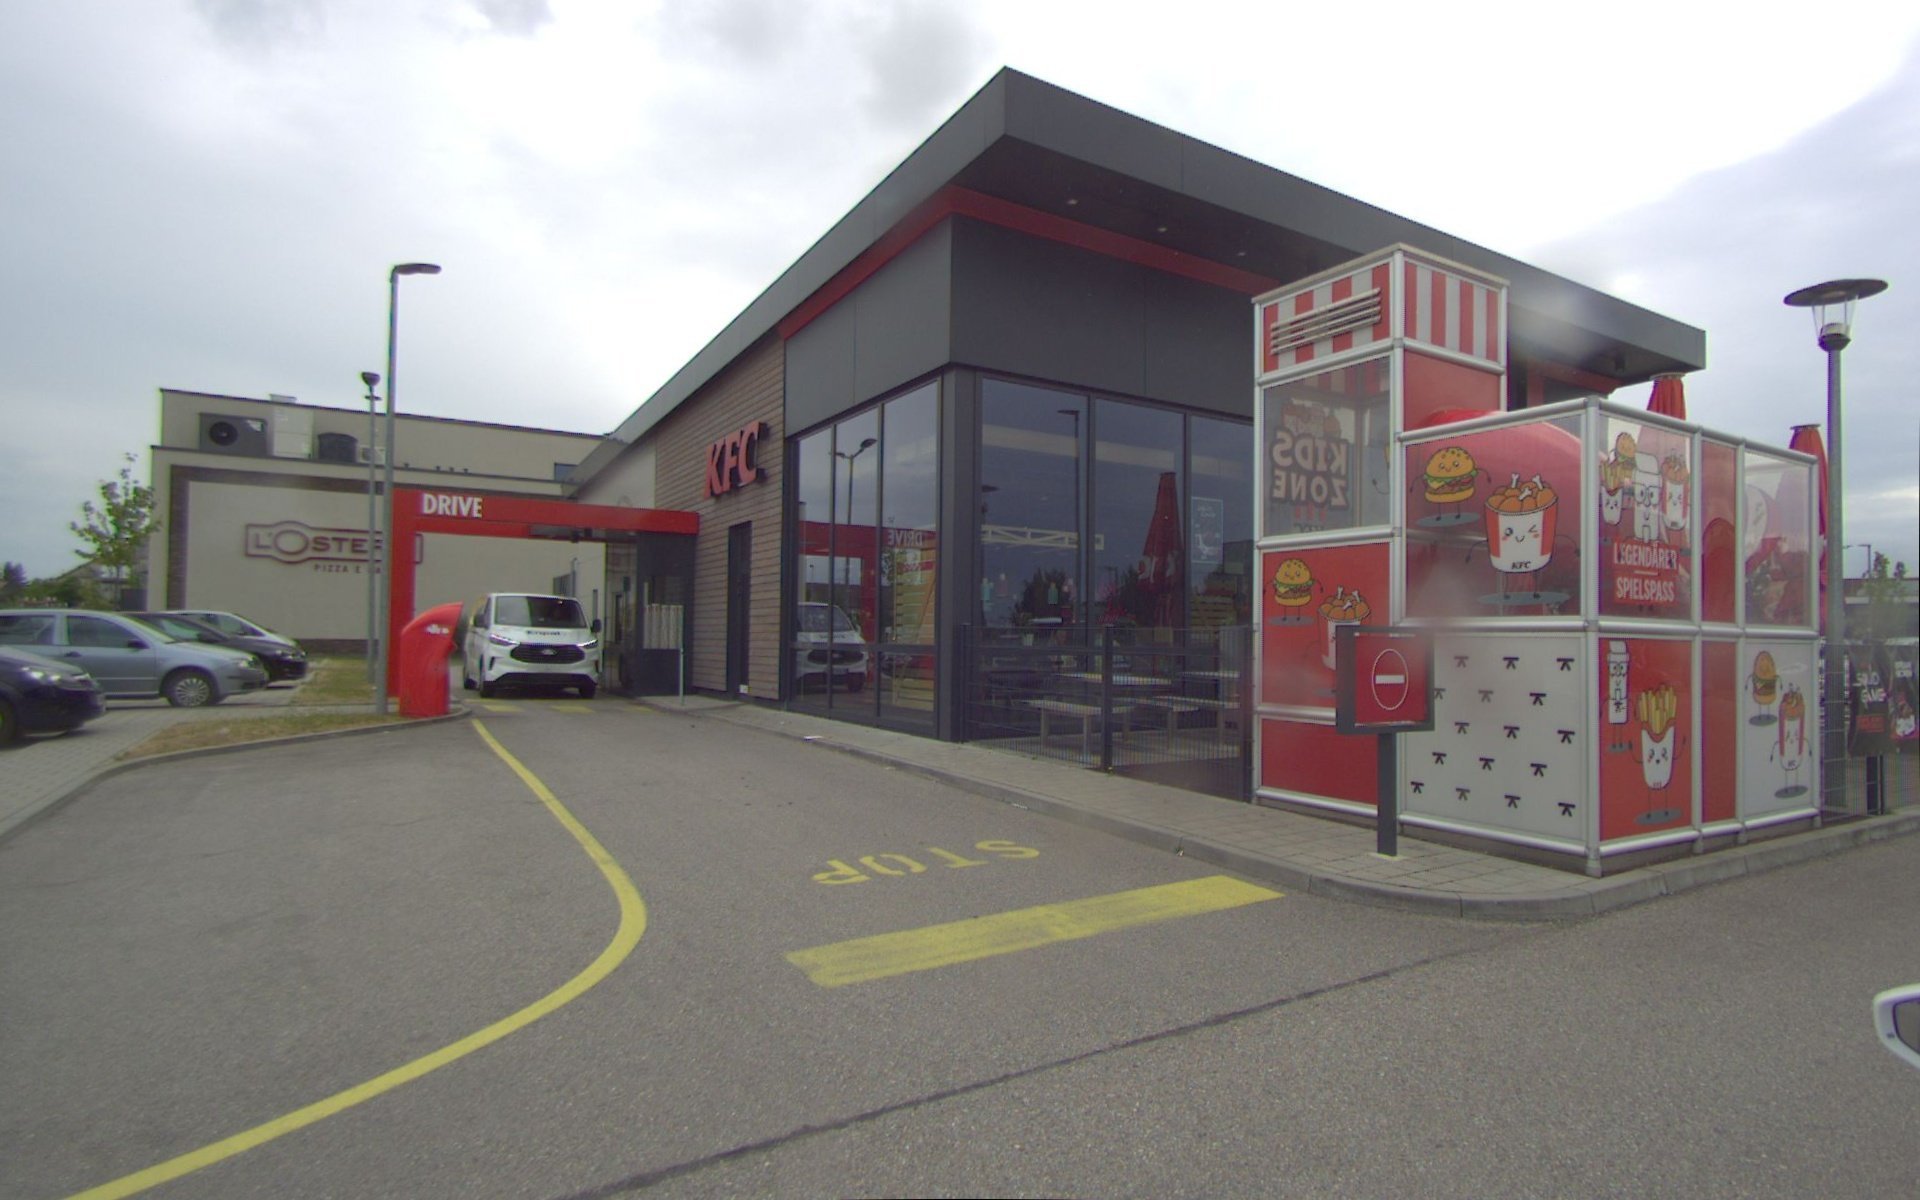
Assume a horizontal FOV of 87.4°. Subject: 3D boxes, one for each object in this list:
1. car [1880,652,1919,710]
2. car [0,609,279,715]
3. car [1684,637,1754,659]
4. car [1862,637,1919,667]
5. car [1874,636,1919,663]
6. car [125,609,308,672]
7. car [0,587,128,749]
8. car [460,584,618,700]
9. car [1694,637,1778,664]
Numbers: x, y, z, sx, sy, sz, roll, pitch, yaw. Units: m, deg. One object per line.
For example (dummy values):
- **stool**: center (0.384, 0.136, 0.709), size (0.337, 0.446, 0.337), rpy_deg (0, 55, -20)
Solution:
- **car**: center (25.892, 2.156, 25.951), size (4.020, 1.430, 1.875), rpy_deg (4, -2, -28)
- **car**: center (-12.164, 0.846, 14.572), size (3.638, 1.413, 1.421), rpy_deg (0, -1, -29)
- **car**: center (58.596, 3.713, 77.586), size (4.082, 1.560, 1.998), rpy_deg (0, -1, -7)
- **car**: center (60.917, 3.326, 65.224), size (4.261, 1.795, 1.988), rpy_deg (0, -1, -25)
- **car**: center (65.150, 3.361, 68.332), size (1.964, 1.795, 3.994), rpy_deg (0, -1, -9)
- **car**: center (-19.952, 1.059, 27.175), size (3.801, 1.595, 1.810), rpy_deg (0, -1, -32)
- **car**: center (-11.361, 0.672, 10.066), size (4.437, 1.638, 1.571), rpy_deg (1, -2, -33)
- **car**: center (-8.394, 0.811, 19.737), size (2.254, 1.957, 5.083), rpy_deg (2, -2, -29)
- **car**: center (42.713, 2.741, 55.350), size (1.413, 1.389, 3.440), rpy_deg (0, -1, -24)
